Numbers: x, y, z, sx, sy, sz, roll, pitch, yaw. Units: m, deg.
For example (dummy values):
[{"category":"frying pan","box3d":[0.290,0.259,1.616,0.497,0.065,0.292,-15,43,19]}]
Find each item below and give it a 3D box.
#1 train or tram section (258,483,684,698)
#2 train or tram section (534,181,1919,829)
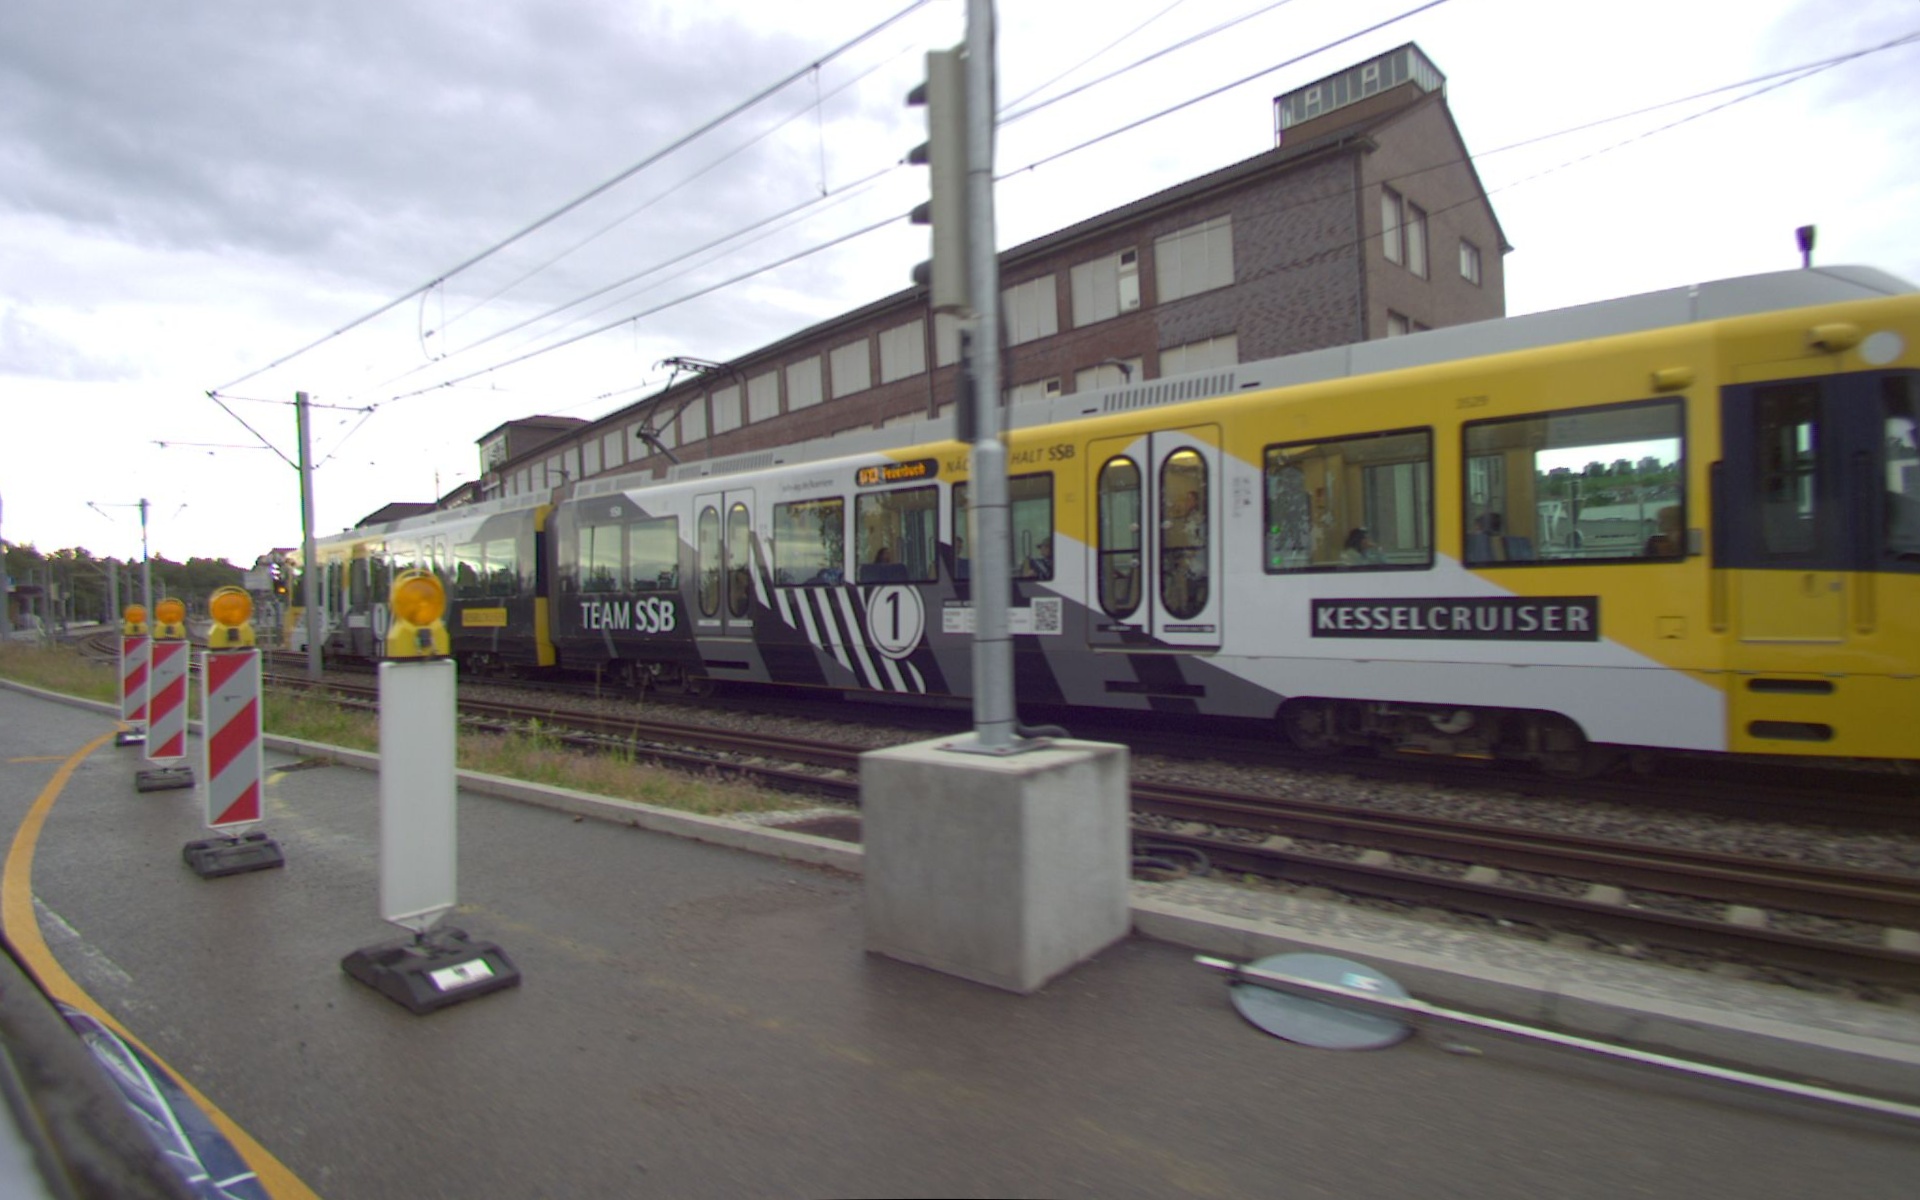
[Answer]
[{"category":"train or tram section","box3d":[-13.798,-0.073,26.131,19.572,3.915,2.923,-1,1,43]},{"category":"train or tram section","box3d":[0.481,-0.477,12.938,19.286,3.915,2.924,-1,1,42]}]
